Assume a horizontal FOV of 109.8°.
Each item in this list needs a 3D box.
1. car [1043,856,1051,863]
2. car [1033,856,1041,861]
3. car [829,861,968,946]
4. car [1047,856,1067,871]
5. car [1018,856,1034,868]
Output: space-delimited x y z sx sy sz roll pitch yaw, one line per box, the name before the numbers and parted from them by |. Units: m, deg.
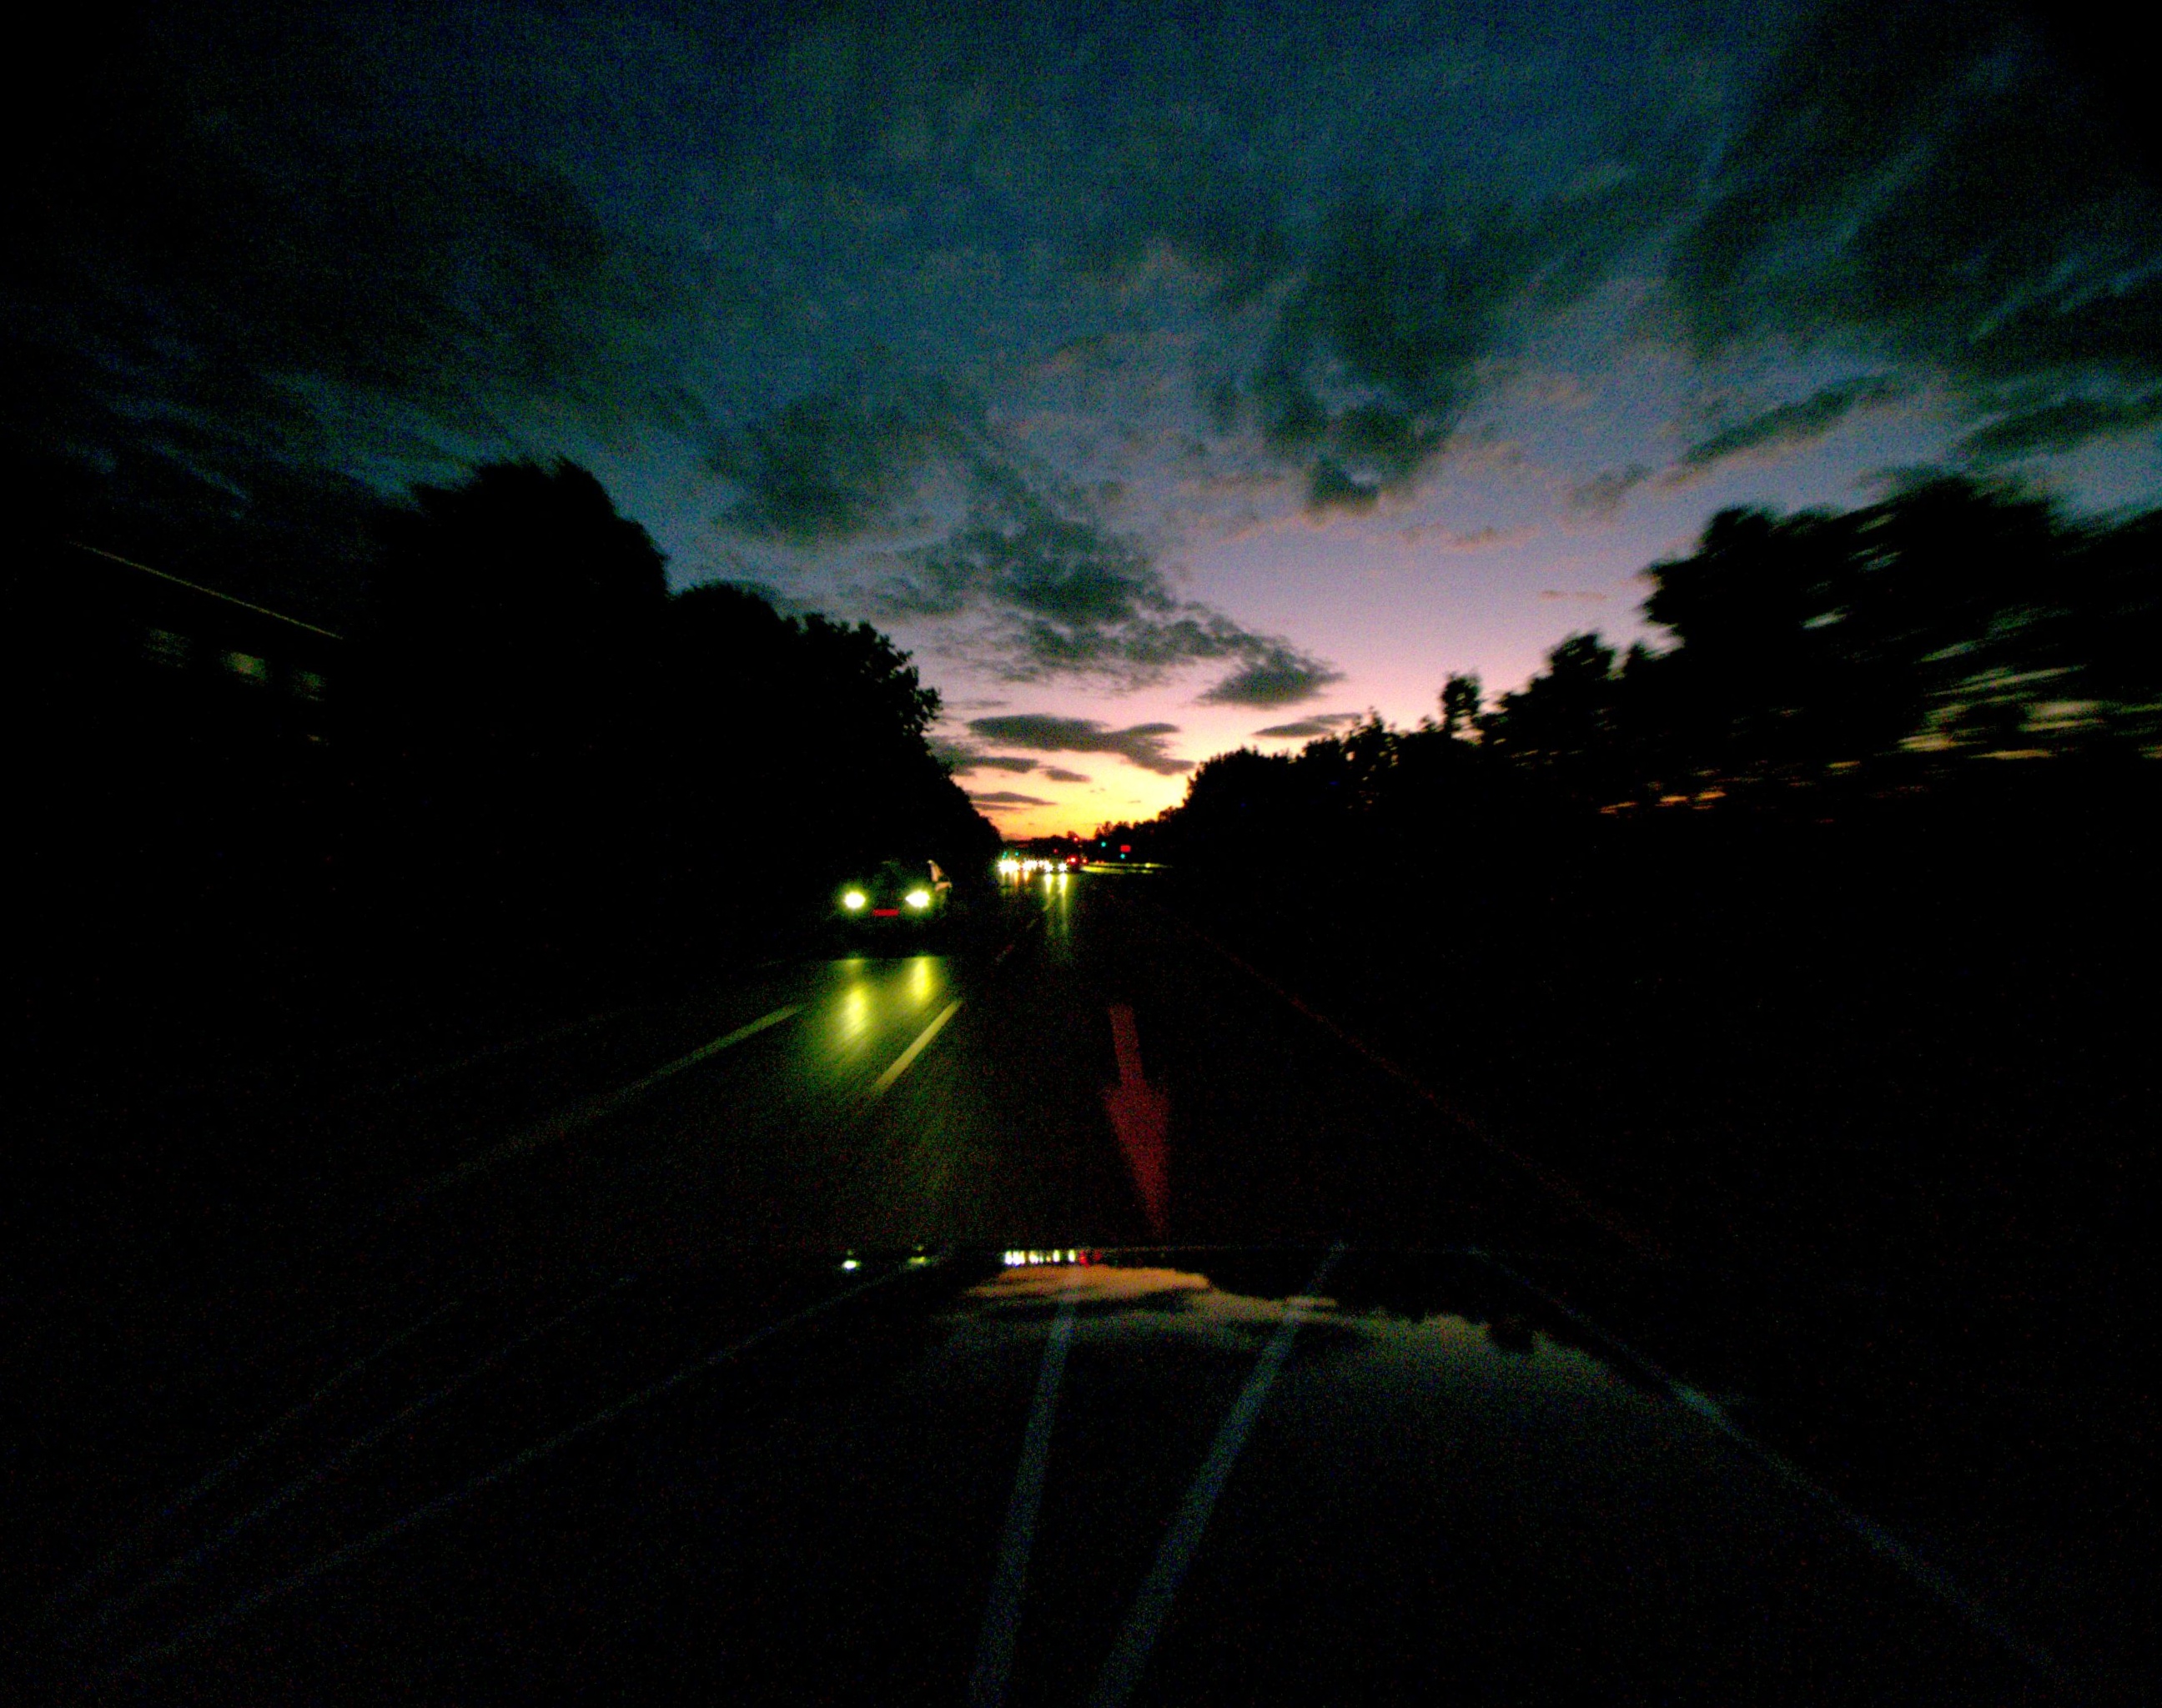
car | -9.186 1.444 203.948 1.999 1.602 4.501 -1 0 -1
car | -12.828 1.424 222.629 1.999 1.423 4.501 1 0 -1
car | -3.996 1.007 17.542 1.998 1.600 4.711 -2 0 1
car | -2.441 0.981 78.790 1.901 1.472 4.514 -2 0 0
car | -7.187 1.052 99.668 1.624 1.460 3.871 -2 0 1
